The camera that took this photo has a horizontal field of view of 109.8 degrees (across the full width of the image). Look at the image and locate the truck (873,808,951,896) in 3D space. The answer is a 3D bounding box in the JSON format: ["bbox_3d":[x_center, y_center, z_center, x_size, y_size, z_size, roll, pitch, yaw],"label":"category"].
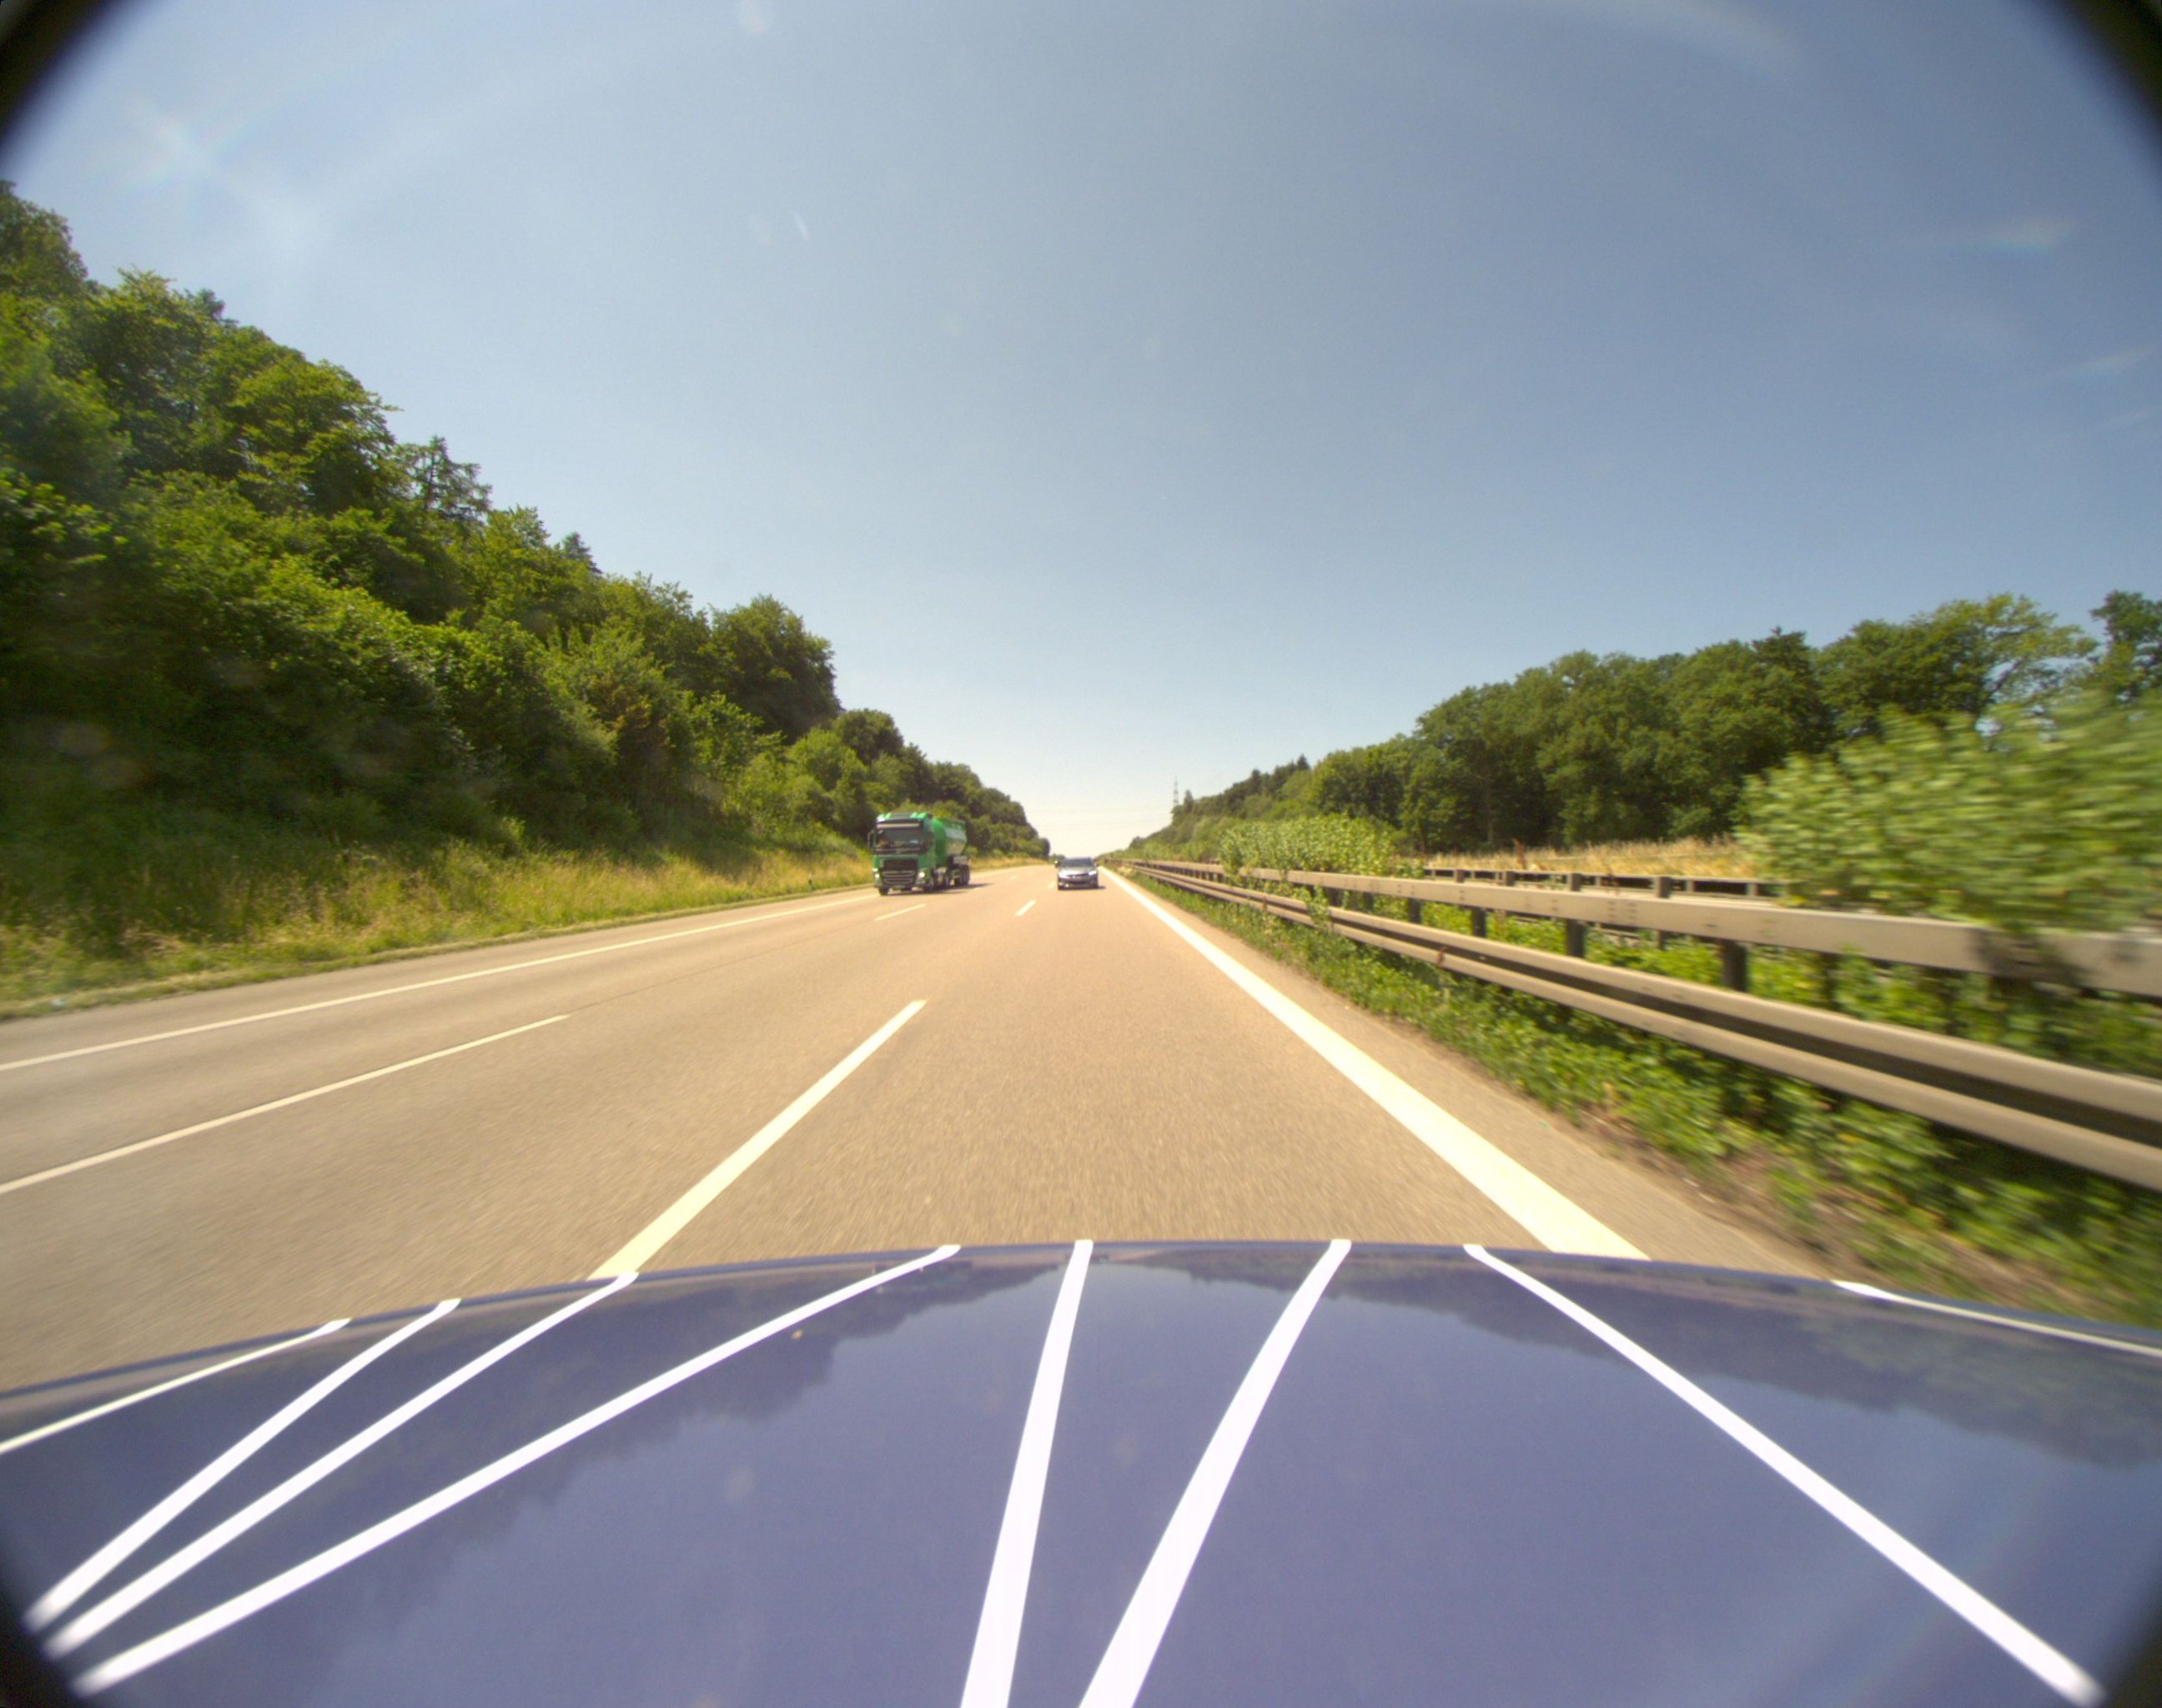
[{"bbox_3d":[-7.908,-0.062,36.135,2.516,3.819,4.892,-2,0,-1],"label":"truck"}]

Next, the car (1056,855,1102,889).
[{"bbox_3d":[-0.021,0.799,34.926,1.767,1.400,4.001,-2,0,4],"label":"car"}]

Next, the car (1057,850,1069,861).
[{"bbox_3d":[-2.686,0.211,114.656,1.788,1.550,3.943,-2,0,-1],"label":"car"}]

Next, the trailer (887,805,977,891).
[{"bbox_3d":[-7.878,-0.252,41.758,2.594,4.004,10.471,-2,0,1],"label":"trailer"}]
